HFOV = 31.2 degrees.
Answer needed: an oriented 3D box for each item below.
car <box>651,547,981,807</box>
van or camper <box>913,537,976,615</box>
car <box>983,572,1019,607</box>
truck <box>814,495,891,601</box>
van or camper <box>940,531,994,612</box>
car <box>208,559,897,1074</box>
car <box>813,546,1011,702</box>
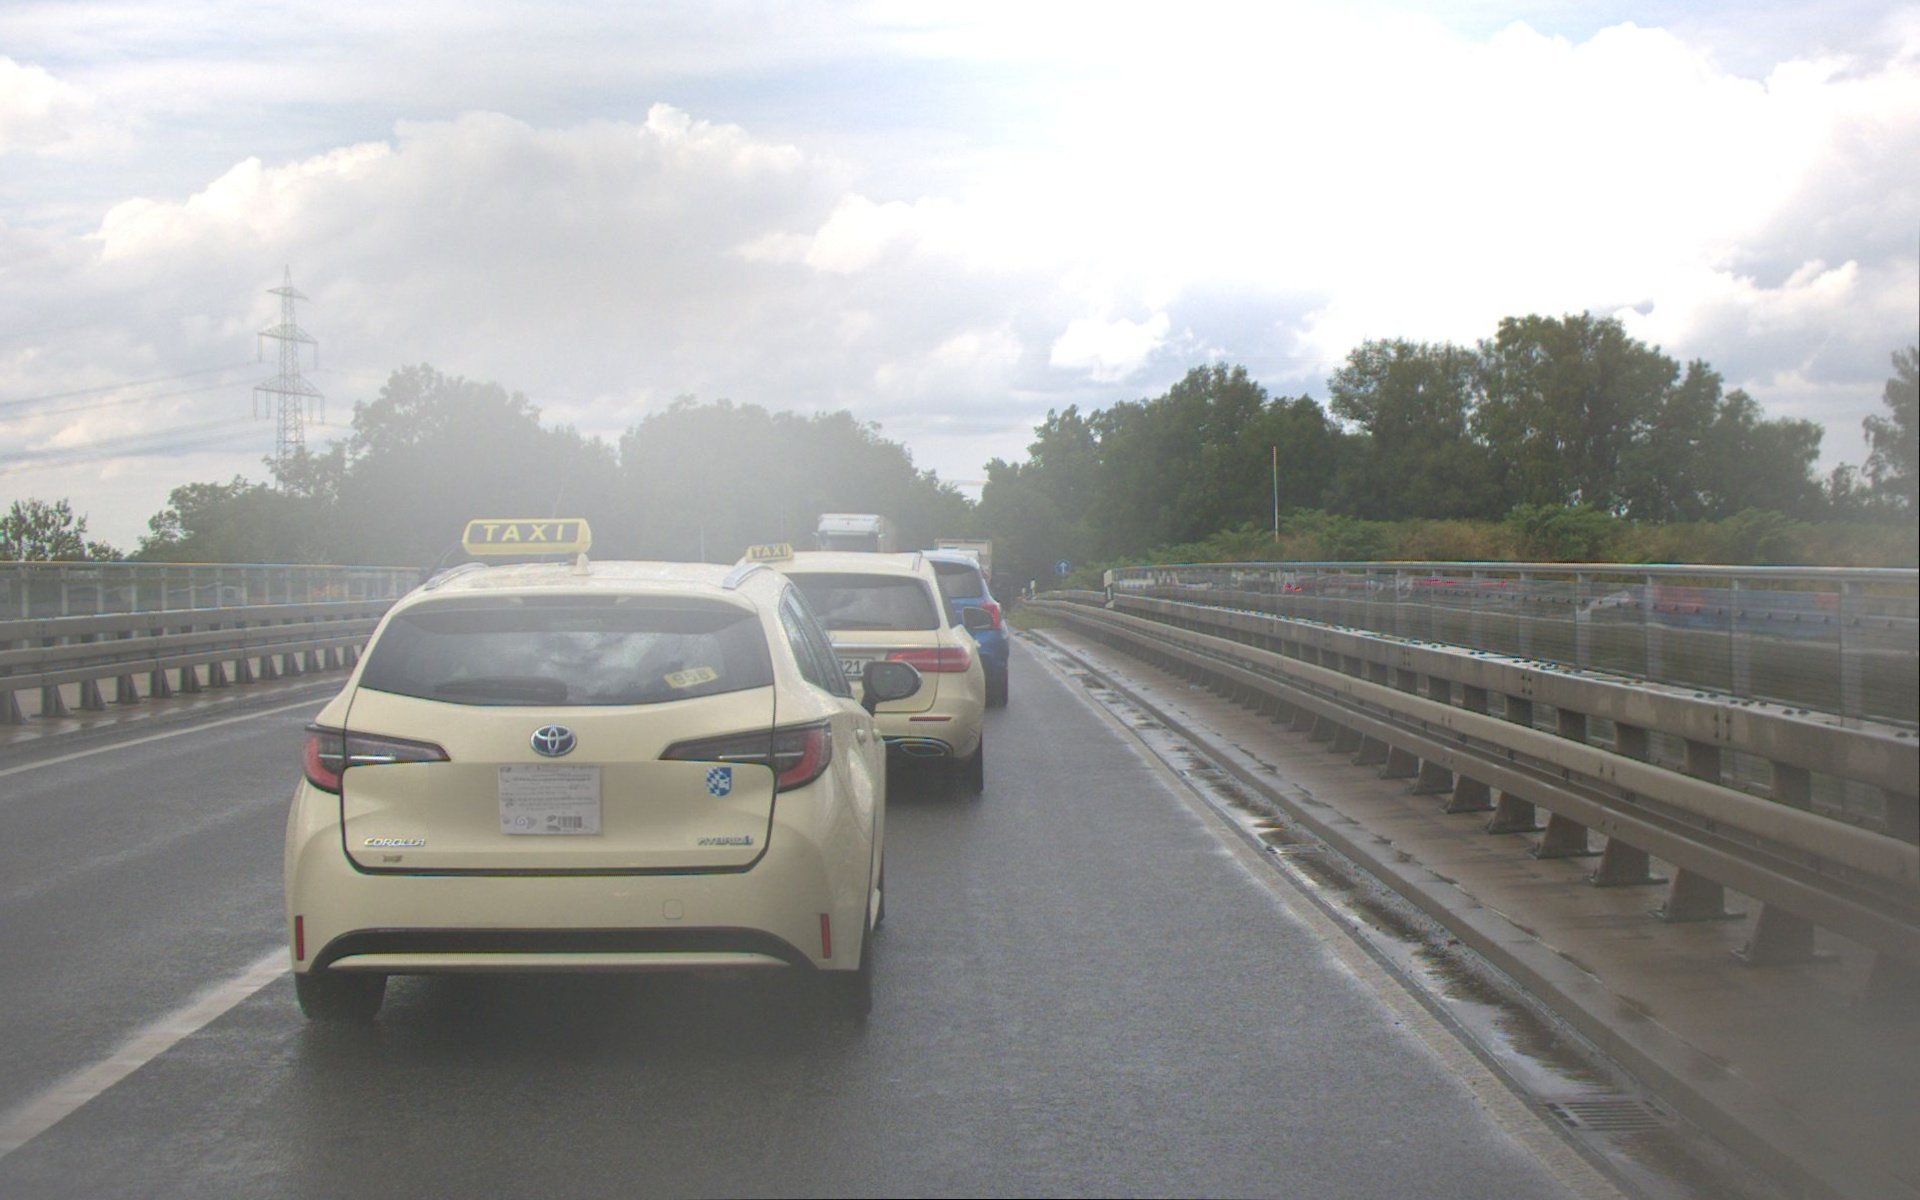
[{"bbox_3d":[-0.831,0.404,21.600,1.854,1.438,4.171,1,1,0],"label":"car"},{"bbox_3d":[-0.585,-0.933,131.311,2.332,2.854,6.307,1,1,0],"label":"van or camper"},{"bbox_3d":[2.403,-0.614,202.432,1.993,2.007,4.000,1,1,-1],"label":"car"},{"bbox_3d":[-4.208,-2.060,136.095,2.682,4.003,10.055,0,1,0],"label":"truck"},{"bbox_3d":[0.286,-1.304,155.084,2.332,3.550,6.307,1,1,0],"label":"van or camper"},{"bbox_3d":[-1.179,0.583,11.703,1.854,1.389,4.171,1,1,0],"label":"car"},{"bbox_3d":[-0.468,0.195,34.653,1.854,1.438,4.171,1,1,0],"label":"car"}]
